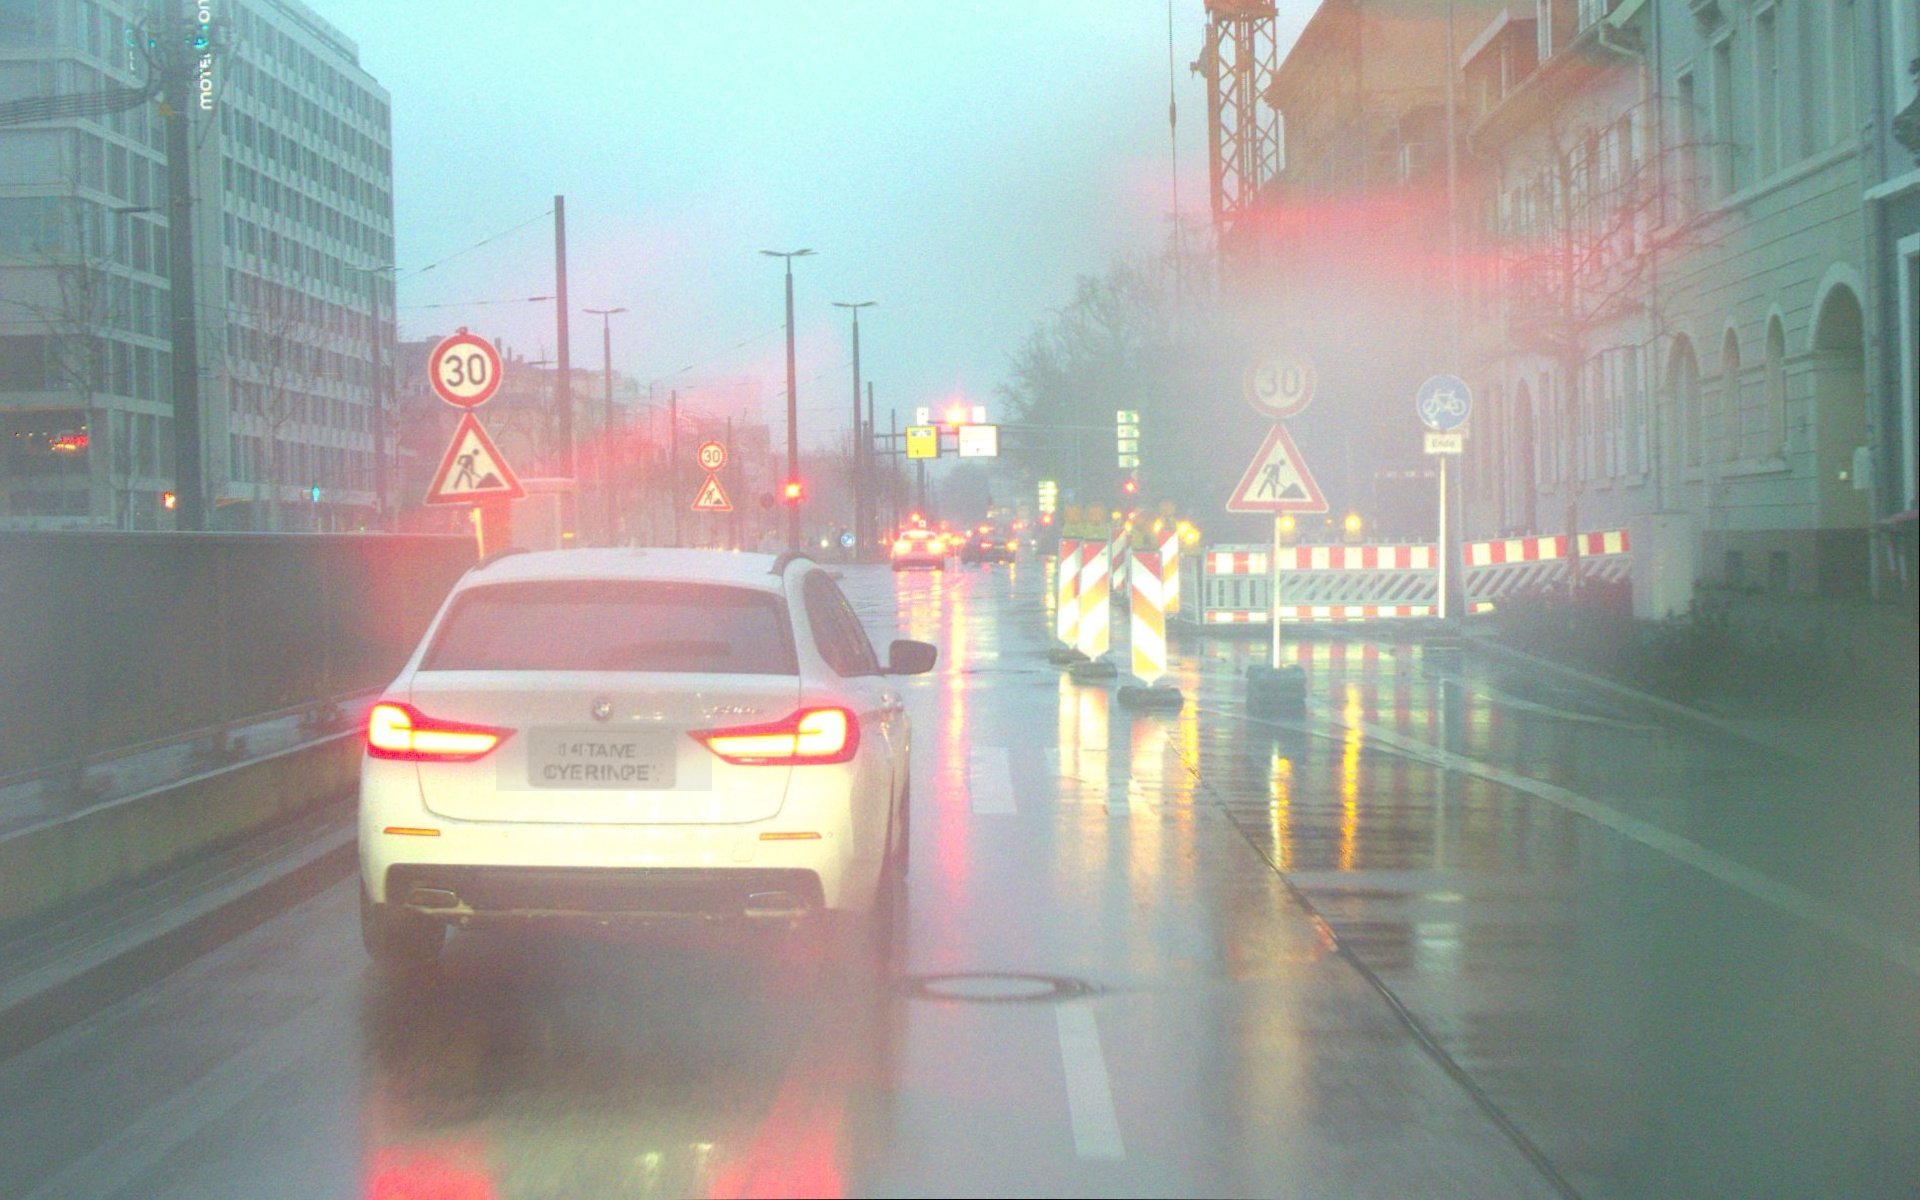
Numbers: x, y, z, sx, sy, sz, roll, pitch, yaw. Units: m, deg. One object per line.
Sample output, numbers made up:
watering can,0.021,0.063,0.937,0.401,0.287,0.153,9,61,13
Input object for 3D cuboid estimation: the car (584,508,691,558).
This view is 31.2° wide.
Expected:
car,-13.060,-2.719,139.237,3.986,1.968,2.001,0,1,-18

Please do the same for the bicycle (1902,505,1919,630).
bicycle,9.655,-0.329,32.864,0.682,1.218,1.906,-4,1,-1

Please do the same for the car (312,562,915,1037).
car,-1.134,0.608,13.403,1.852,1.460,4.947,0,1,0

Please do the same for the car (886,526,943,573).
car,-1.602,-1.790,122.041,1.901,1.636,4.000,0,1,1
